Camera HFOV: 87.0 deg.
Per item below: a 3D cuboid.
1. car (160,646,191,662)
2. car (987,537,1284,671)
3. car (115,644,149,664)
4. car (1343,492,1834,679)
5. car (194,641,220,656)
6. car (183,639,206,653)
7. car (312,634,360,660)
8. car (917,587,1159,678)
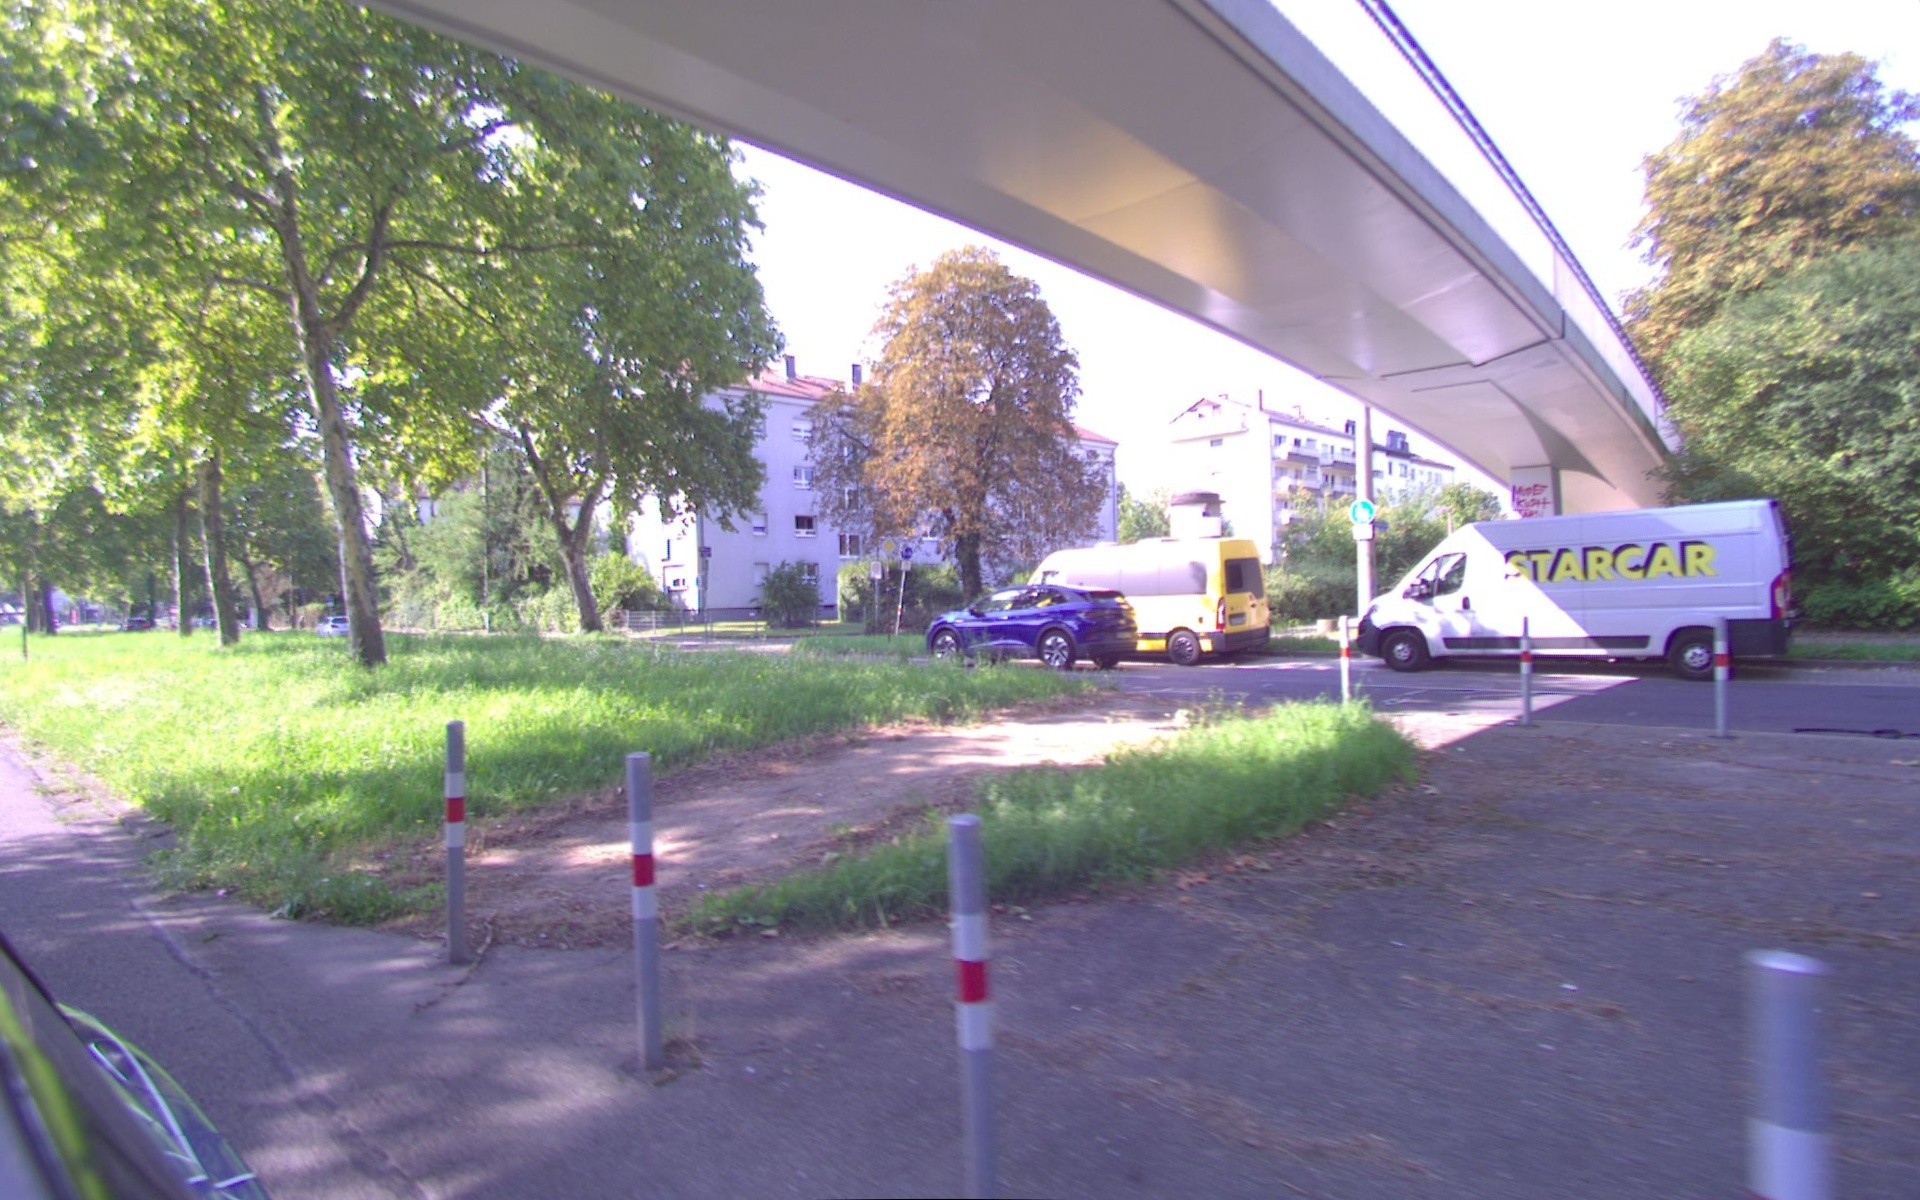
[{"bbox_3d":[-72.148,4.995,93.035,3.898,1.374,1.627,-3,-1,43],"label":"car"},{"bbox_3d":[3.579,0.123,21.785,6.063,2.498,2.183,-2,0,44],"label":"car"},{"bbox_3d":[-72.468,4.691,88.531,4.858,1.628,1.755,-2,0,44],"label":"car"},{"bbox_3d":[9.687,-0.171,16.107,6.265,2.447,2.184,-2,2,43],"label":"car"},{"bbox_3d":[-73.738,4.757,99.115,1.590,1.301,3.526,-3,0,-43],"label":"car"},{"bbox_3d":[-81.435,4.876,107.685,1.590,1.301,3.526,-3,0,-43],"label":"car"},{"bbox_3d":[-39.354,2.958,63.800,3.900,1.490,1.627,-2,0,44],"label":"car"},{"bbox_3d":[1.431,0.620,19.723,4.451,1.544,1.770,-2,0,39],"label":"car"}]
